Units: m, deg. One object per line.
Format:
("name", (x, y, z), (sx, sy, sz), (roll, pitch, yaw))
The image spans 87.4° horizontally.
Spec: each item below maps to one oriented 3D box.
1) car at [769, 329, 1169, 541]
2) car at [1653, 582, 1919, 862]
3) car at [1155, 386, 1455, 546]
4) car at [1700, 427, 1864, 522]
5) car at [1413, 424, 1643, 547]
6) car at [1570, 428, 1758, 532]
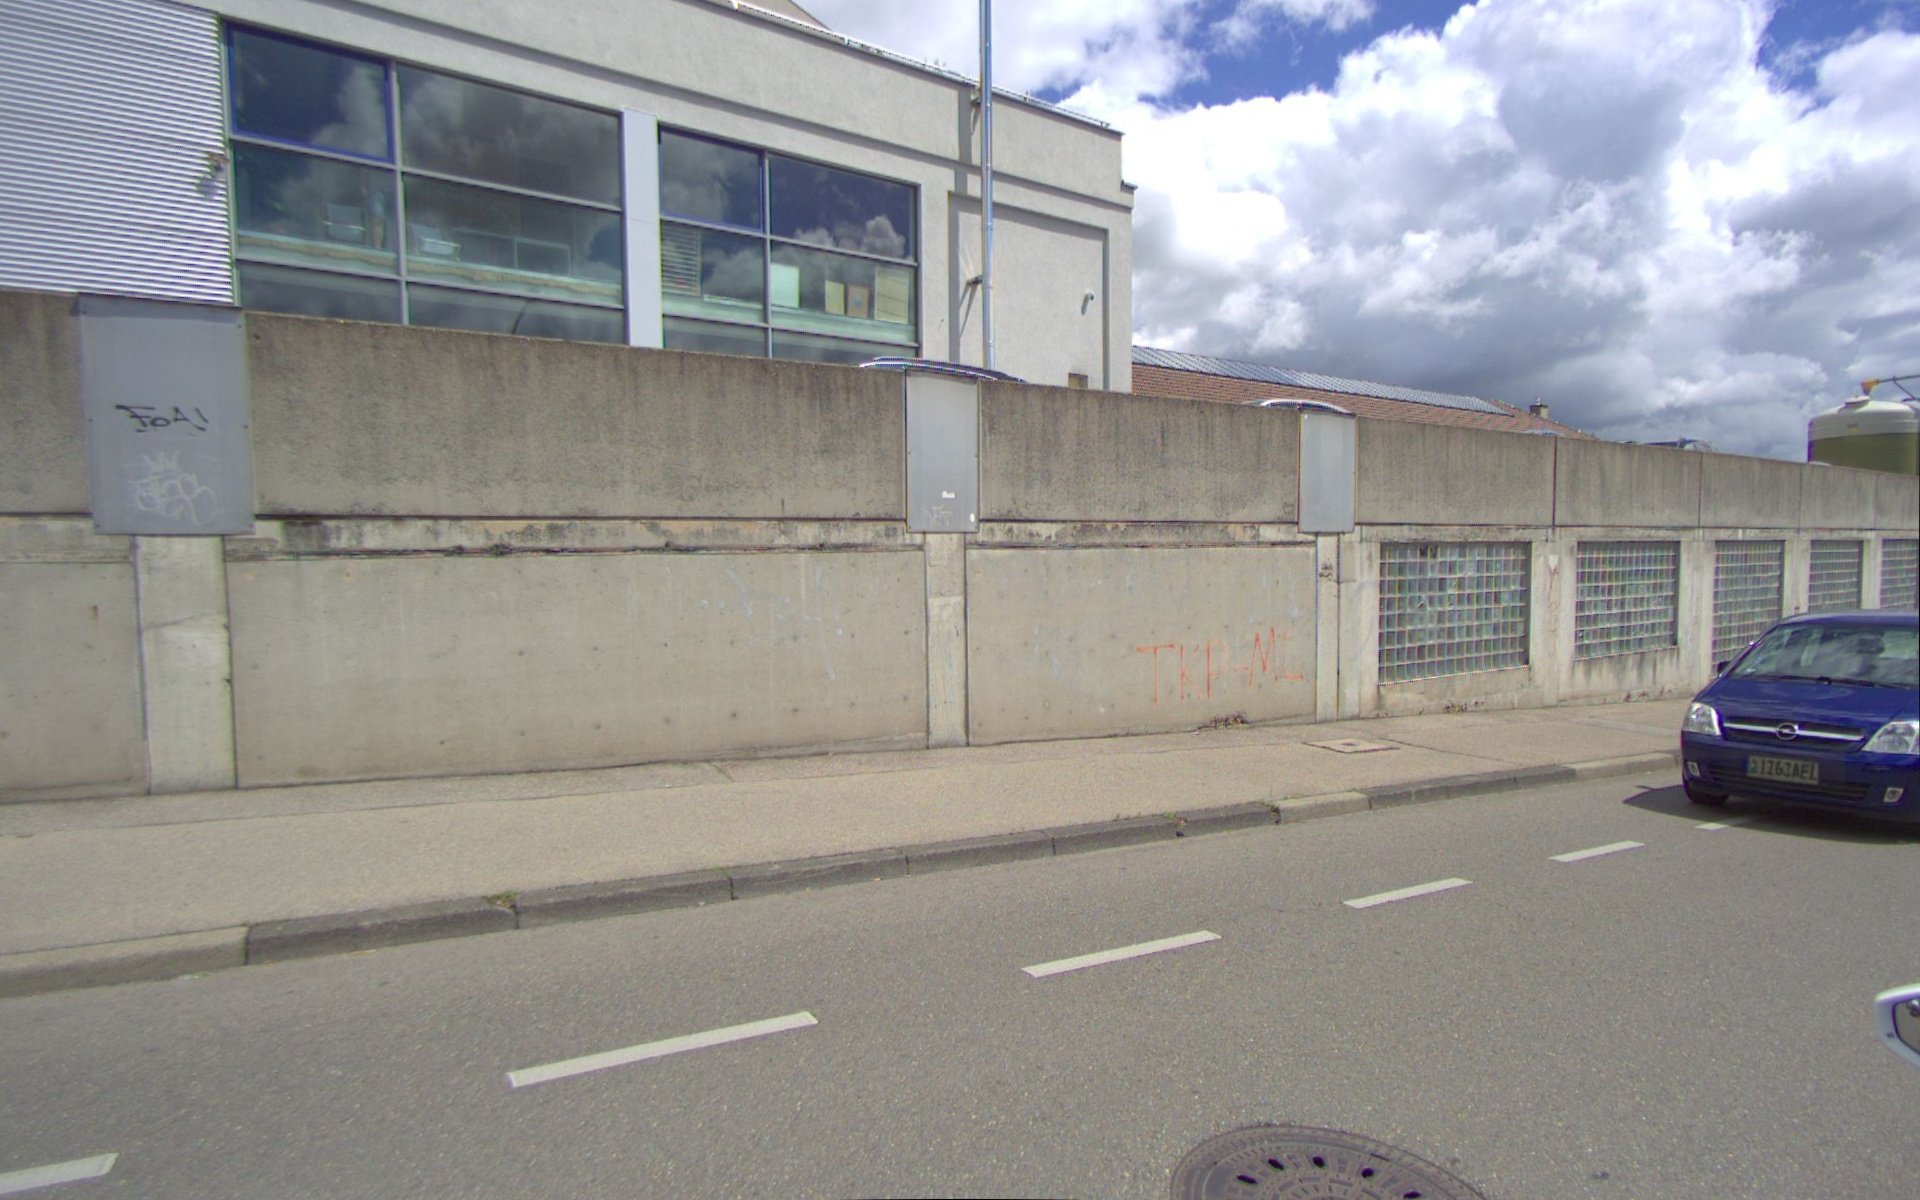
("car", (0.167, -1.610, 11.028), (4.061, 1.658, 1.795), (2, 1, -34))
("car", (7.529, 0.848, 8.256), (3.737, 1.841, 1.618), (2, 0, -31))
("car", (4.819, -1.697, 13.886), (4.061, 1.658, 1.795), (2, 1, -34))
("car", (19.060, -2.816, 23.251), (4.061, 1.658, 1.795), (2, 1, -34))
("car", (9.901, -1.876, 17.422), (4.061, 1.658, 1.795), (2, 1, -34))
("car", (14.596, -2.380, 20.783), (4.061, 1.658, 1.795), (2, 1, -34))
